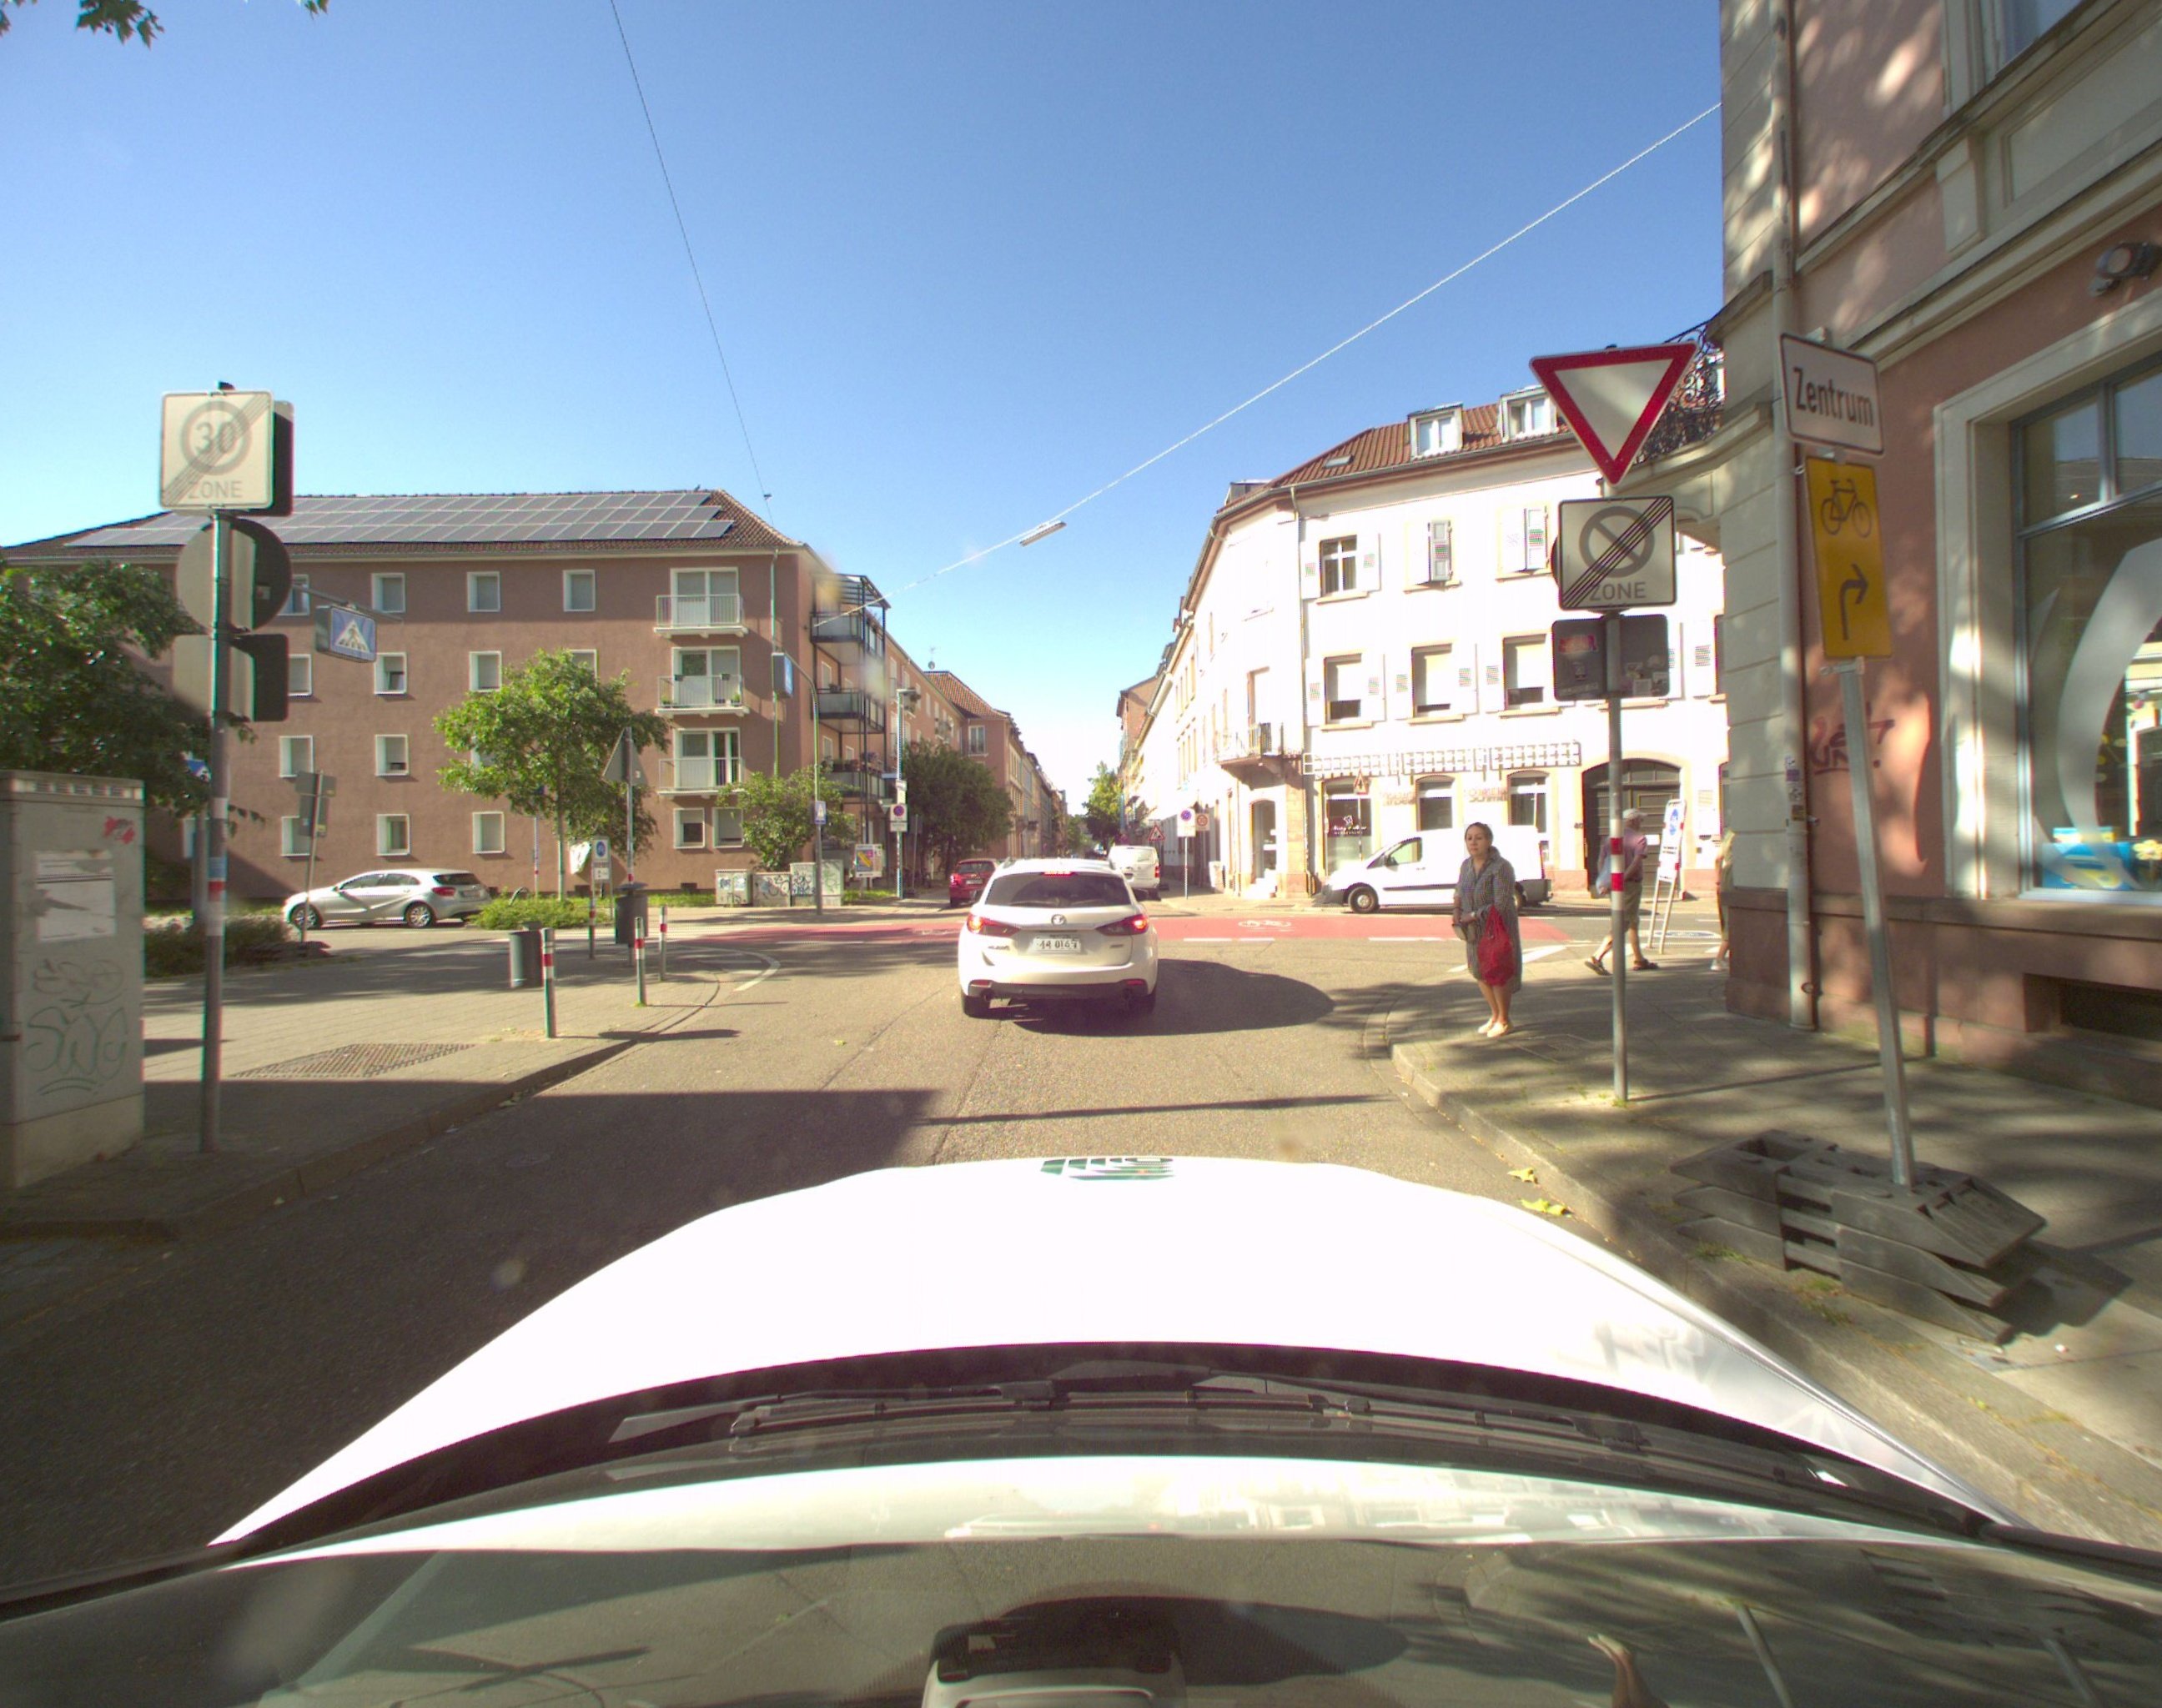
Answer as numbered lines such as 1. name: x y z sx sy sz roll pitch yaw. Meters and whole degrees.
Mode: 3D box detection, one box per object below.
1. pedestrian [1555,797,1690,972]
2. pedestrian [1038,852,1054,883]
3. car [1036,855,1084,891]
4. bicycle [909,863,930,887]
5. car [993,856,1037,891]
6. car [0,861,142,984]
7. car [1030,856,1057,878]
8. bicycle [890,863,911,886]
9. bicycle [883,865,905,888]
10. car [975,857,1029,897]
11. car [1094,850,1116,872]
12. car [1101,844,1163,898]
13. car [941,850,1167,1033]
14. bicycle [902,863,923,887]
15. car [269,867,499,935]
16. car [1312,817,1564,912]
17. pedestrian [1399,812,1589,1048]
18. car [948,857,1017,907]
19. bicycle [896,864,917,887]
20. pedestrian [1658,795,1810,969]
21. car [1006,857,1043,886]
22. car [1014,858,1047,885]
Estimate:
1. pedestrian: 5.845 0.337 8.849 0.747 1.765 0.830 -4 -3 0
2. pedestrian: -1.878 0.724 43.421 0.733 1.614 0.813 -2 -1 -11
3. car: -0.816 0.754 34.240 1.754 1.410 4.329 -1 0 2
4. bicycle: -7.634 0.988 38.421 1.204 1.071 0.255 -1 0 40
5. car: -3.039 0.884 38.129 1.647 1.500 3.764 -1 0 2
6. car: -15.181 0.931 10.221 1.747 1.612 4.303 -1 0 0
7. car: -2.737 0.951 59.426 1.647 1.500 3.764 -1 0 2
8. bicycle: -8.383 0.961 37.819 1.201 1.072 0.268 -1 0 40
9. bicycle: -8.619 1.019 37.556 1.201 1.035 0.293 -1 0 40
10. car: -3.153 0.876 33.111 1.647 1.500 4.081 -1 0 2
11. car: 2.141 0.570 71.860 1.887 1.859 3.996 -1 0 2
12. car: 1.828 0.587 30.560 1.889 1.859 5.011 1 0 -1
13. car: -0.164 0.720 8.661 1.824 1.457 3.963 -1 0 1
14. bicycle: -7.936 0.987 38.288 1.201 1.071 0.255 -1 0 40
15. car: -17.088 1.119 20.111 4.128 1.454 1.746 -2 0 0
16. car: 8.015 0.259 18.631 4.964 1.946 2.062 -1 0 23
17. pedestrian: 3.075 0.542 6.163 0.841 1.573 0.846 -7 -1 1
18. car: -3.180 0.866 26.977 1.678 1.500 3.808 -1 0 2
19. bicycle: -8.144 0.991 38.064 1.201 1.071 0.255 -1 0 40
20. pedestrian: 6.738 0.294 8.445 0.833 1.667 0.626 -5 -5 1
21. car: -3.074 0.946 44.989 1.647 1.500 3.764 -1 0 2
22. car: -3.002 1.010 48.973 1.647 1.500 3.764 -1 0 2
